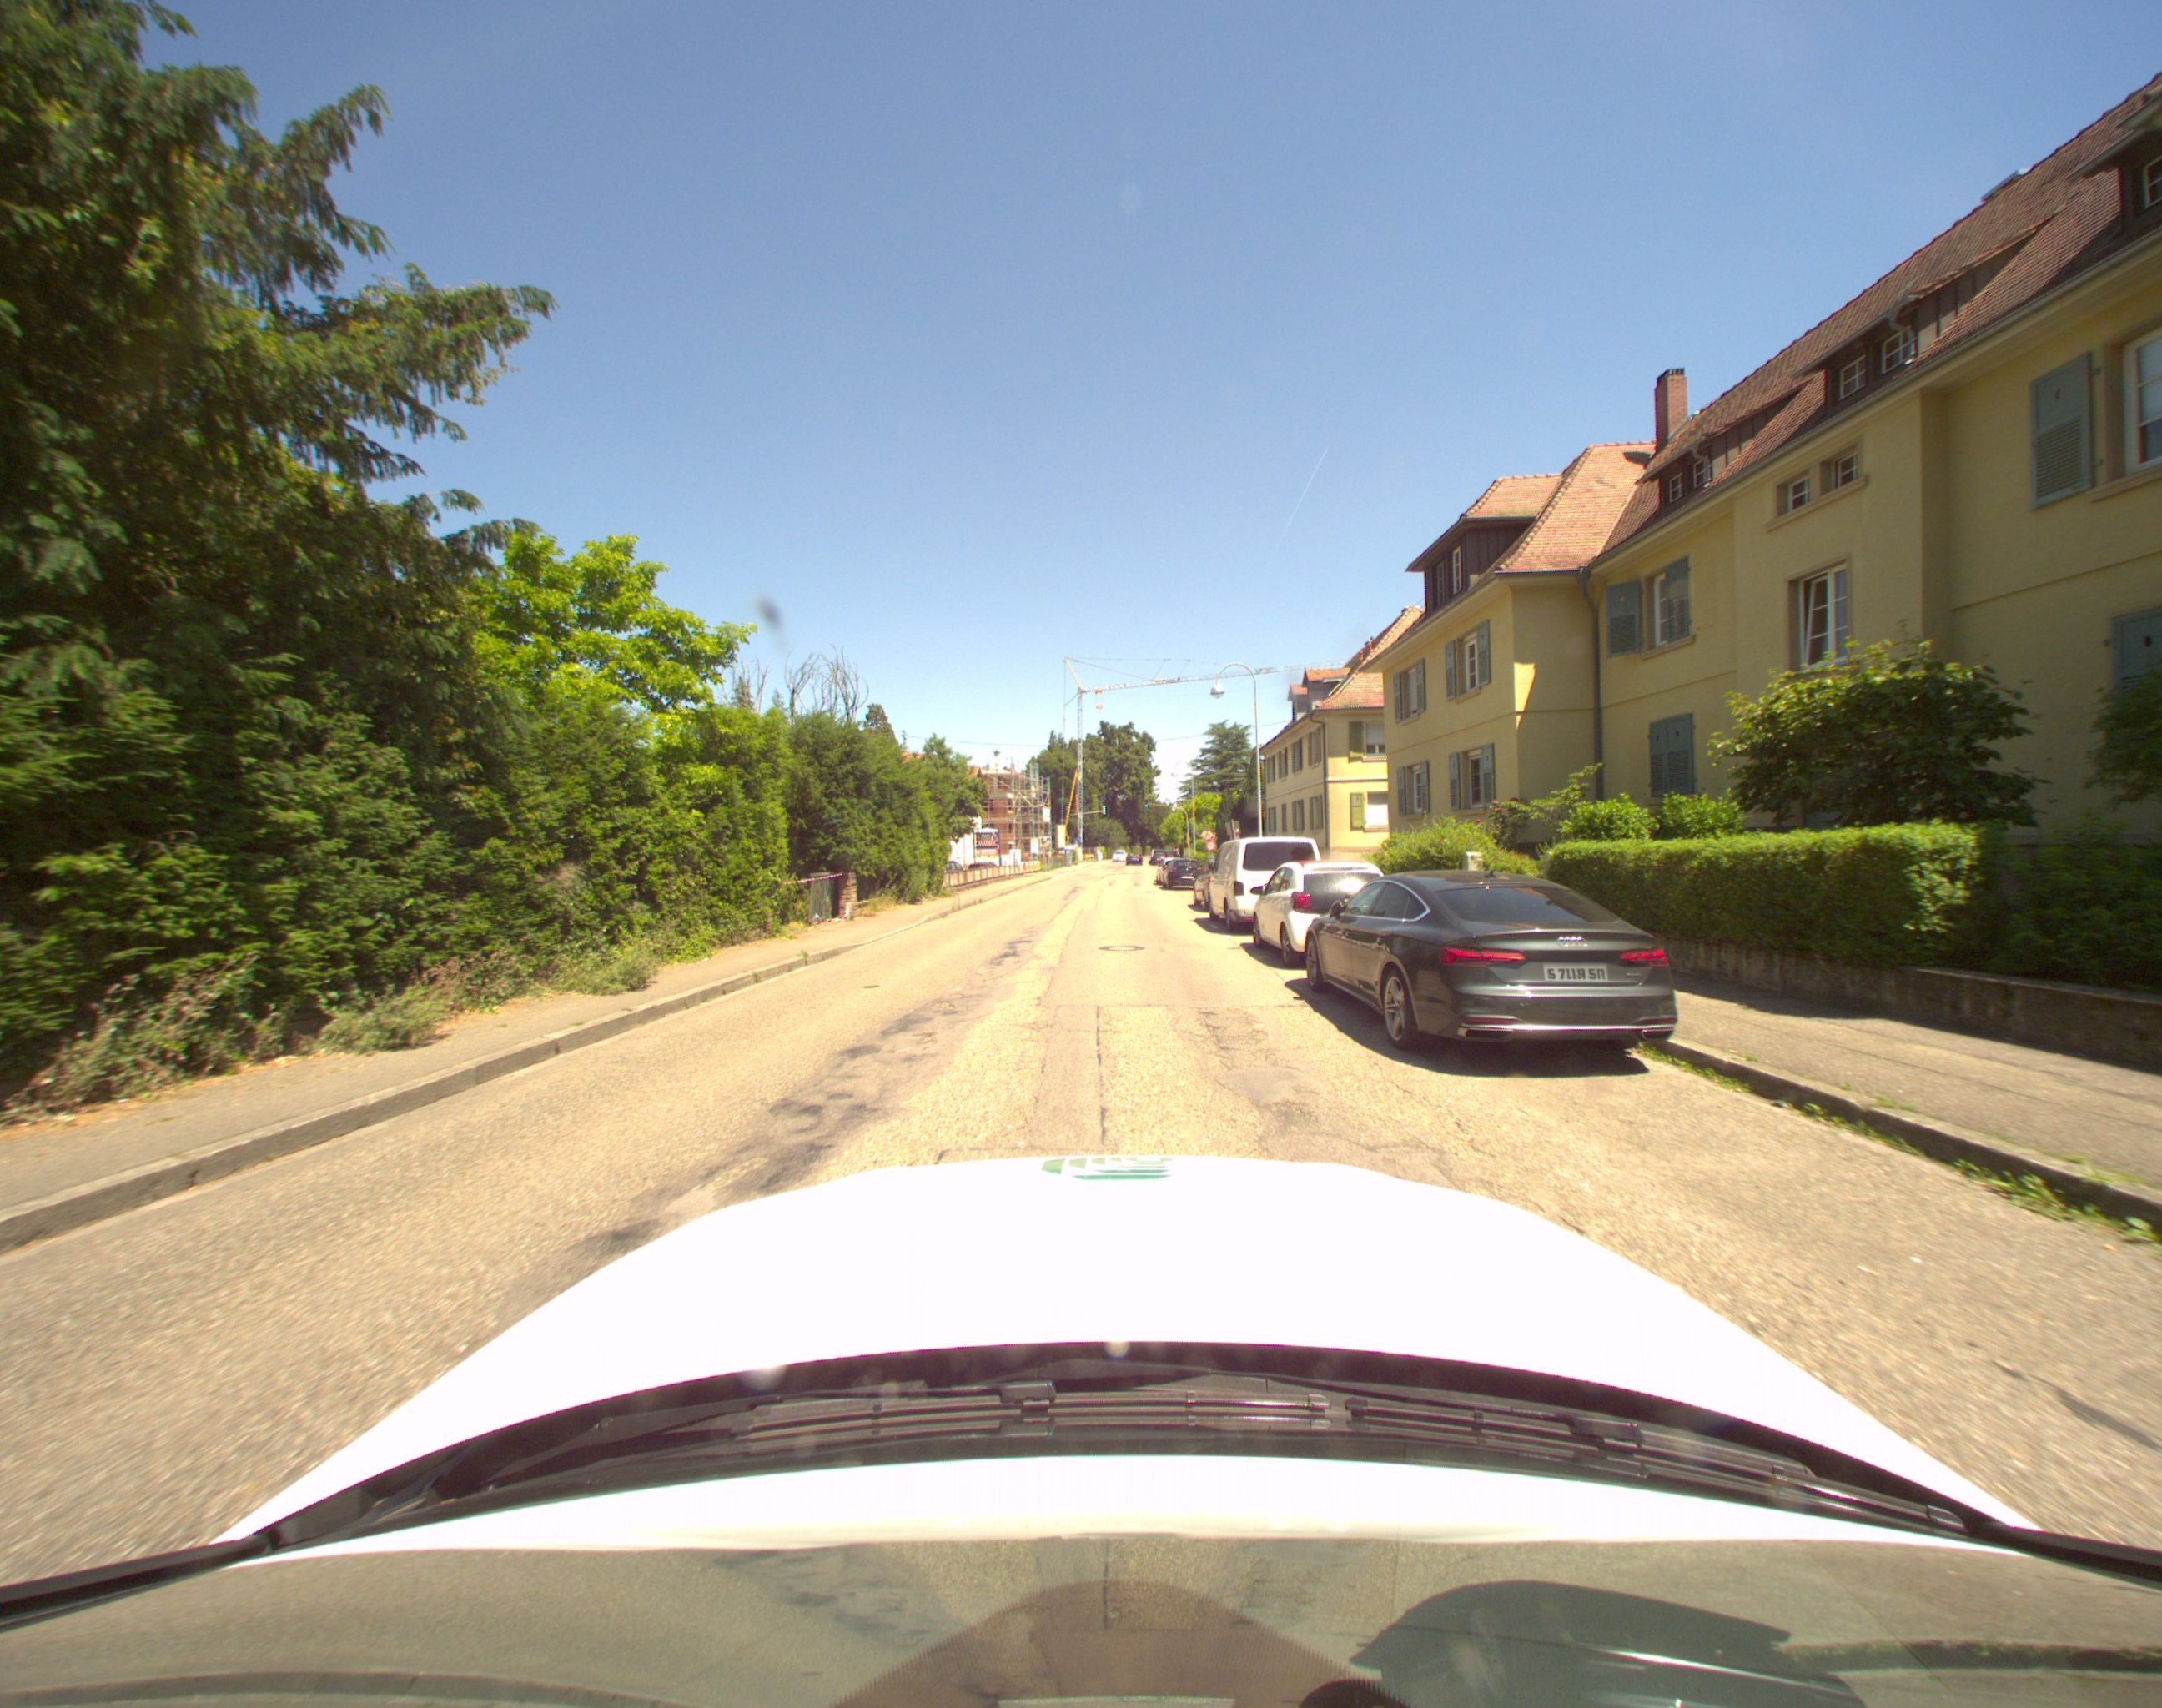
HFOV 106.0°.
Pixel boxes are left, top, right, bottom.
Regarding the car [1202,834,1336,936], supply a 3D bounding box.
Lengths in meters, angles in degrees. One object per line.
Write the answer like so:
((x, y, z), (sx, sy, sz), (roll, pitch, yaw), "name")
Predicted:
((3.924, 0.596, 17.874), (1.986, 1.901, 4.825), (1, 0, 2), "car")

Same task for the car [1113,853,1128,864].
((5.530, 0.592, 114.148), (1.752, 1.451, 3.846), (-1, 0, 6), "car")

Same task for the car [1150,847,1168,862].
((9.276, 0.045, 96.903), (1.983, 1.662, 4.007), (-2, 0, 6), "car")

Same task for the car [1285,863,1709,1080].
((3.359, 0.813, 7.752), (1.755, 1.371, 4.608), (-1, 0, 1), "car")

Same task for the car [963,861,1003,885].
((-6.176, 1.190, 51.652), (1.650, 1.389, 3.543), (-2, 0, 8), "car")

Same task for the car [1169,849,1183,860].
((15.130, 0.126, 129.515), (1.982, 1.662, 4.010), (-2, 0, 9), "car")

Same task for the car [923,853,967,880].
((-8.629, 0.772, 51.932), (1.650, 1.576, 3.543), (-2, 0, 8), "car")

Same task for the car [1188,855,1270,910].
((4.305, 0.788, 24.342), (1.755, 1.451, 4.224), (-1, 0, 1), "car")

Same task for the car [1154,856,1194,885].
((4.925, 0.841, 43.495), (1.755, 1.451, 3.890), (-1, 0, 1), "car")

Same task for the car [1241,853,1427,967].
((3.648, 0.732, 12.425), (1.755, 1.451, 3.649), (-1, 0, 1), "car")

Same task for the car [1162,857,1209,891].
((4.811, 0.869, 37.818), (1.755, 1.451, 3.840), (-1, 0, 1), "car")

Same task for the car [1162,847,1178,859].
((13.110, -0.150, 119.859), (1.982, 1.662, 4.010), (-2, 0, 9), "car")

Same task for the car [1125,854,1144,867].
((6.143, 0.715, 93.020), (1.948, 1.468, 4.007), (-1, 0, 7), "car")

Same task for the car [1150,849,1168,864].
((8.855, 0.276, 92.311), (1.983, 1.574, 4.007), (-2, 0, 6), "car")
